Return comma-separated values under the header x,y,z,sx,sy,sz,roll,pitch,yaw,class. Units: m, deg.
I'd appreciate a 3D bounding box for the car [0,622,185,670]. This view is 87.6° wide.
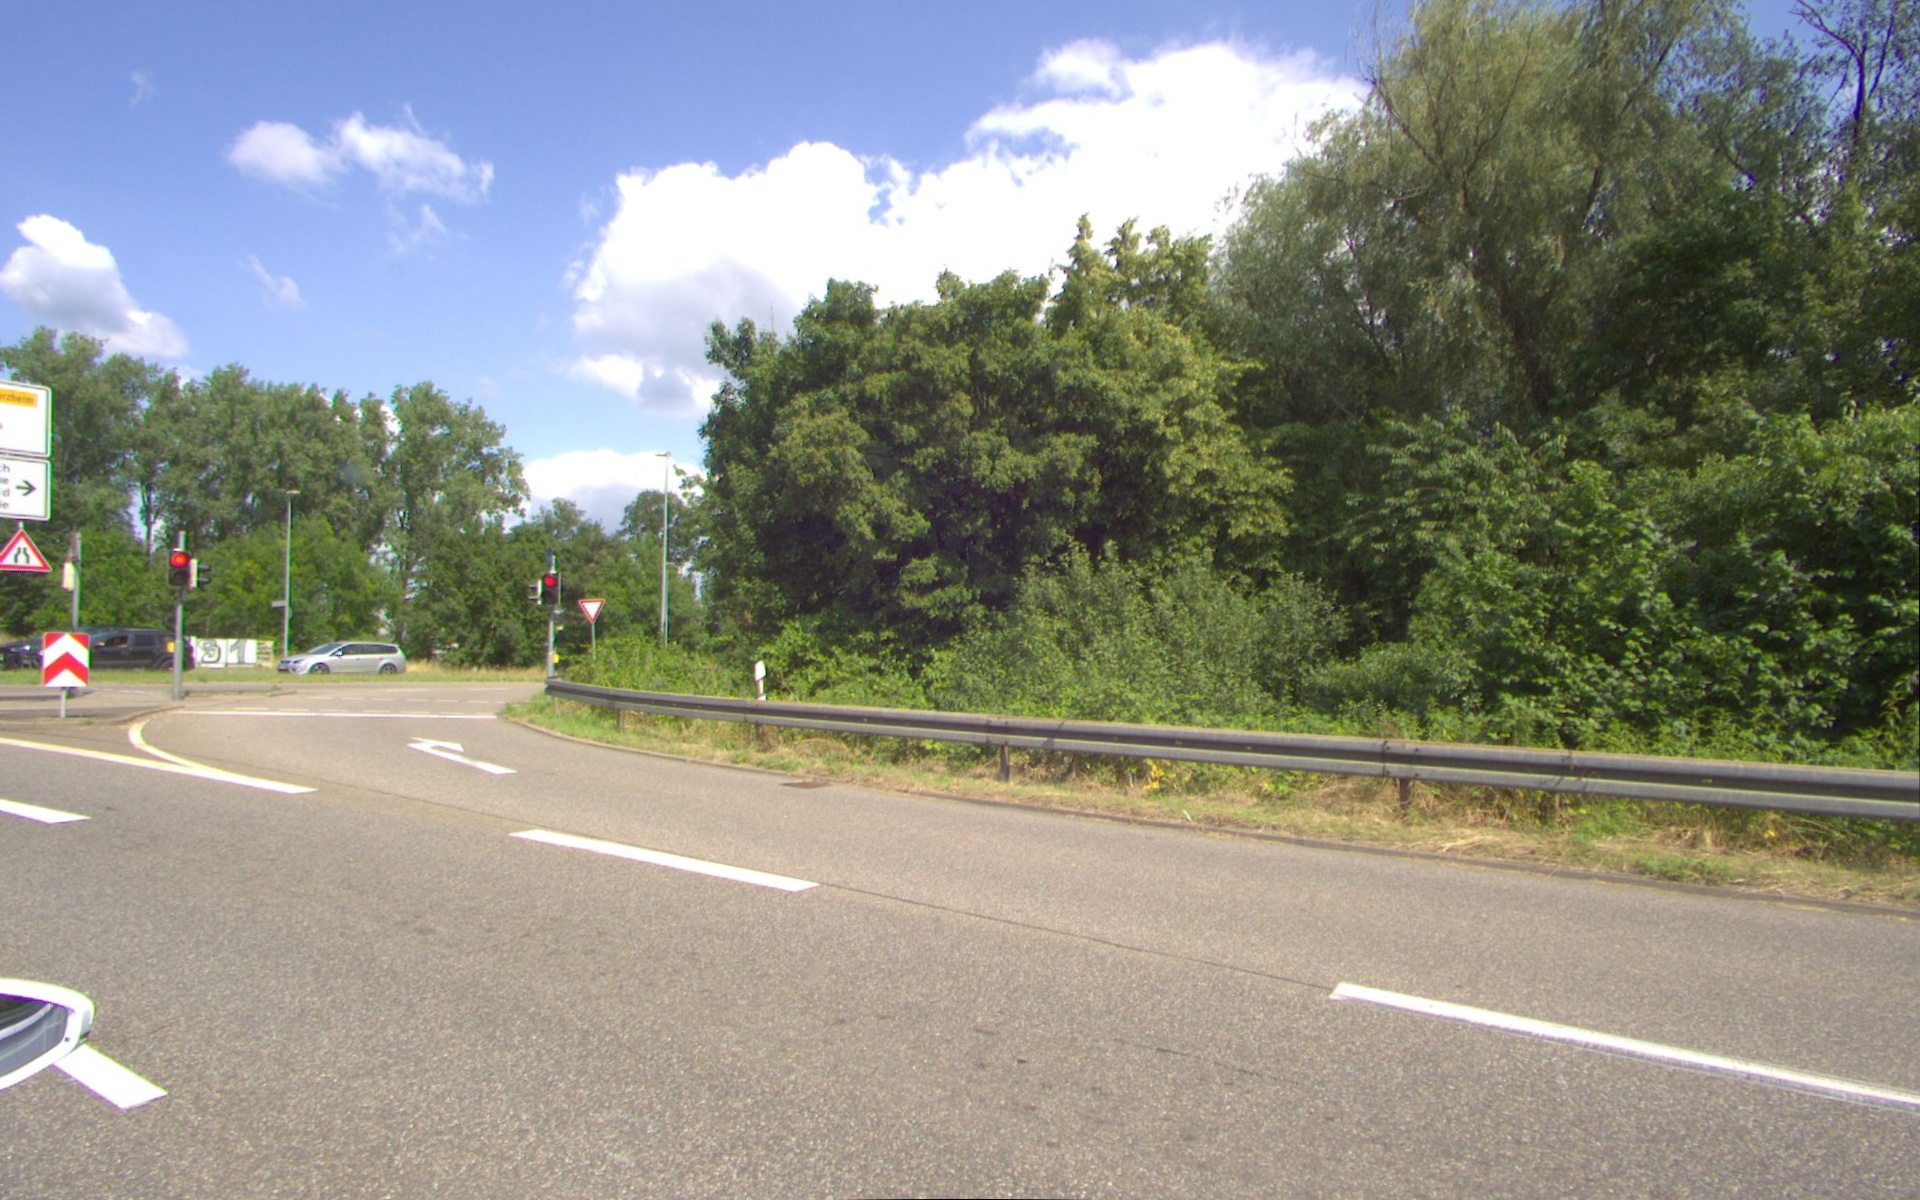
x,y,z,sx,sy,sz,roll,pitch,yaw,class
-30.543,1.631,35.259,1.711,1.564,4.842,0,-3,31,car

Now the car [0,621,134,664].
x,y,z,sx,sy,sz,roll,pitch,yaw,class
-33.752,1.585,37.376,1.972,1.515,4.099,0,-3,33,car

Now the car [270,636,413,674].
x,y,z,sx,sy,sz,roll,pitch,yaw,class
-23.979,2.130,39.012,1.710,1.337,4.471,0,-3,29,car

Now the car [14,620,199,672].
x,y,z,sx,sy,sz,roll,pitch,yaw,class
-27.695,1.503,32.650,1.711,1.564,4.264,0,-3,31,car
